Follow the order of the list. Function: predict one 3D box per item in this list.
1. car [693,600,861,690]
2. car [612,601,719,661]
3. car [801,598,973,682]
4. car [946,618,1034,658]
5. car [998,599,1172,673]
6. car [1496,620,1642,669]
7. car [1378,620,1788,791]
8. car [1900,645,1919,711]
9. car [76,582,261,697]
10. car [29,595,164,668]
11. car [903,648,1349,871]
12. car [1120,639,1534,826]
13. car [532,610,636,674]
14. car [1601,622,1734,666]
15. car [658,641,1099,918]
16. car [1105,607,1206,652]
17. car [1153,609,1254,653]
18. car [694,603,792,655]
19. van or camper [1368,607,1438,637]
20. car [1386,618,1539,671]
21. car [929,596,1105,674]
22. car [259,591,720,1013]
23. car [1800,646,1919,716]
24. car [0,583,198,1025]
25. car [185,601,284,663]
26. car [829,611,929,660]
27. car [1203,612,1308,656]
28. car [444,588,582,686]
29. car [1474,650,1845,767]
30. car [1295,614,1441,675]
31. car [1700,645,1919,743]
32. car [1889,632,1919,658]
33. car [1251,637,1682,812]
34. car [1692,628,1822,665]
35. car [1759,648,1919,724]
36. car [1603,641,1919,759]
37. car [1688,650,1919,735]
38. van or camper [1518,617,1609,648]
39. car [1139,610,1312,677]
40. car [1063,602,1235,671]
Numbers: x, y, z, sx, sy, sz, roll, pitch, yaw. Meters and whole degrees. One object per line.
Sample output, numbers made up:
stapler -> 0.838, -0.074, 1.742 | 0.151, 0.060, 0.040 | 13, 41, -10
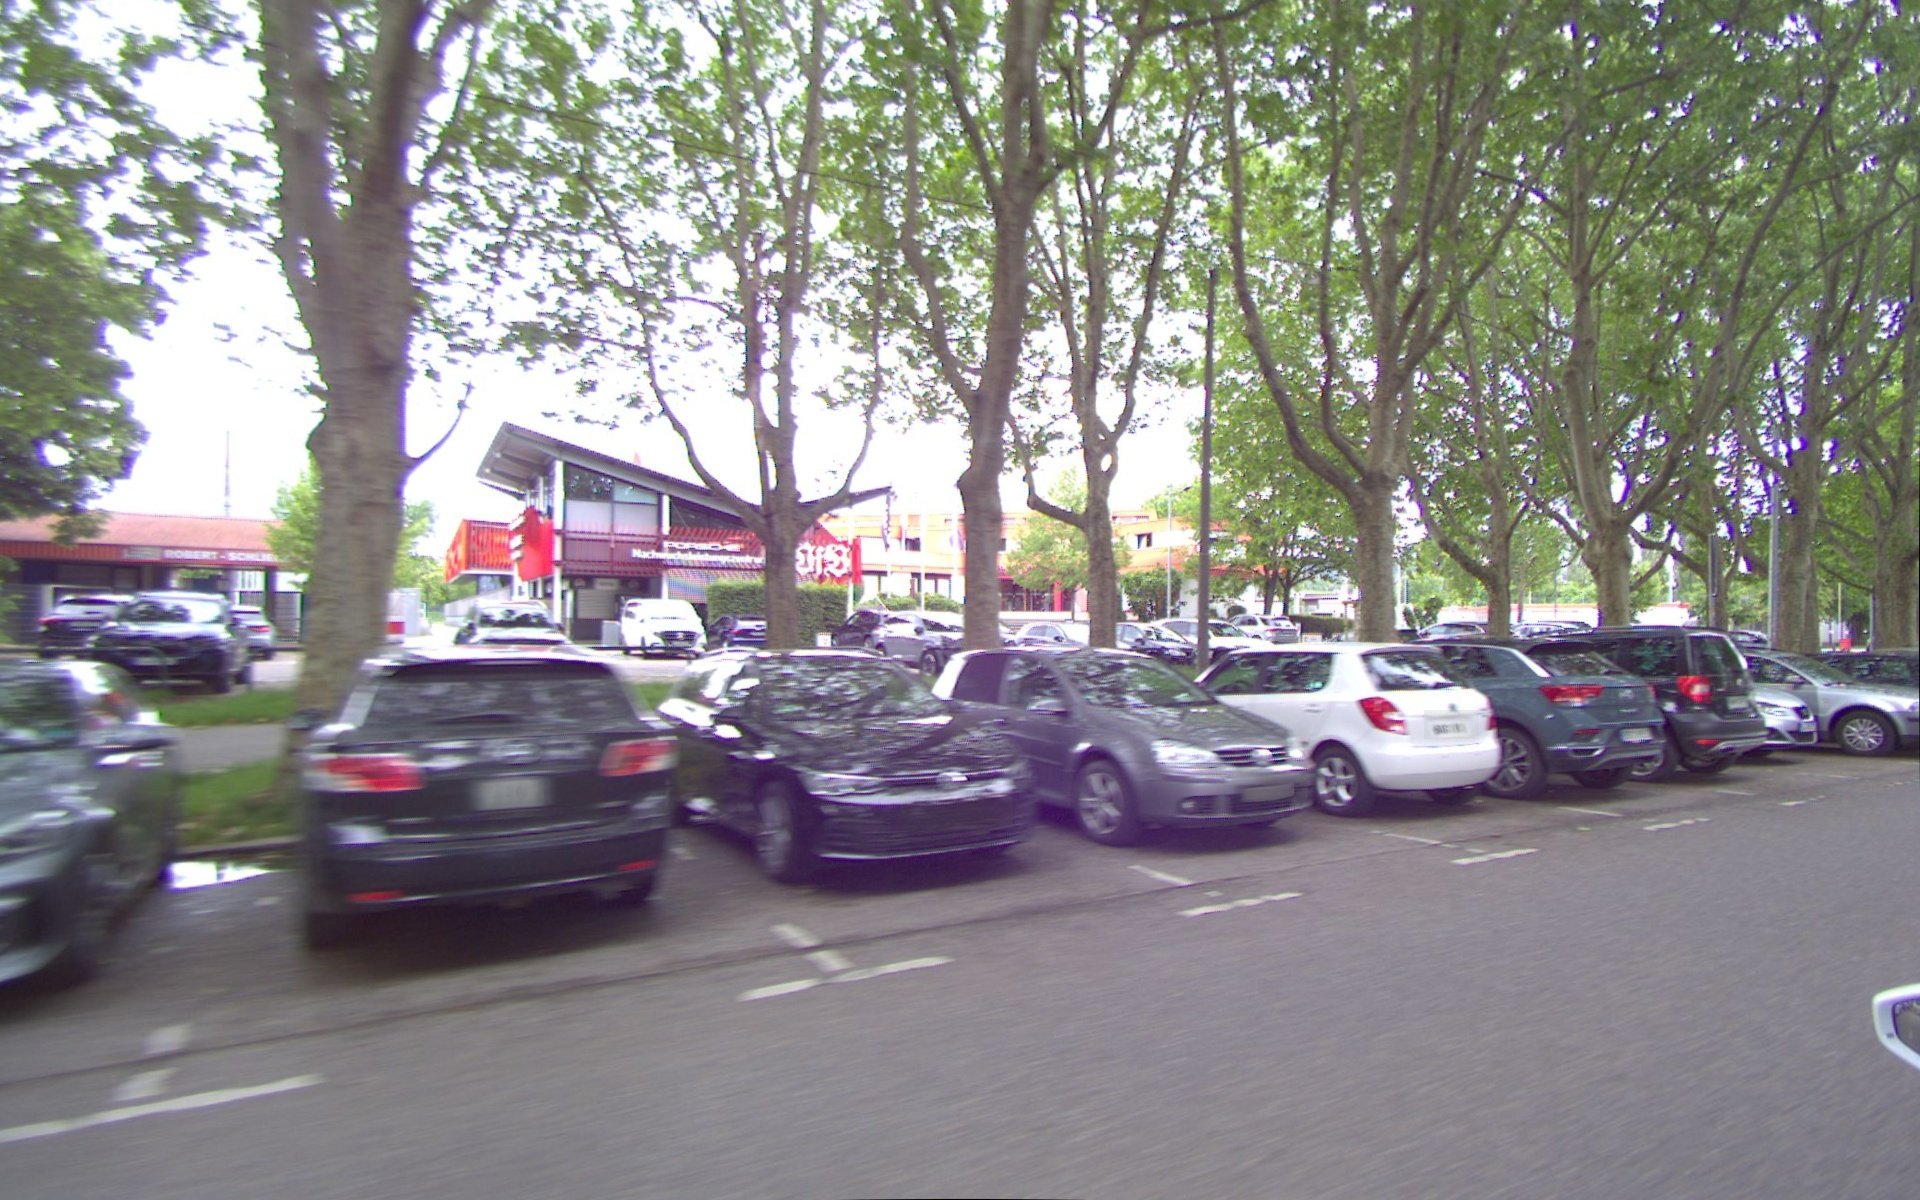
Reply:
car -> -4.323, 0.955, 23.051 | 2.159, 1.820, 4.915 | 2, -1, -31
car -> -9.771, 0.967, 33.031 | 2.159, 1.820, 4.915 | 2, -1, -31
car -> -1.898, 0.908, 24.322 | 2.159, 1.820, 4.915 | 1, -1, -31
car -> 1.111, 1.456, 38.860 | 1.489, 1.390, 3.966 | 2, -1, -31
car -> 3.308, 0.919, 27.593 | 2.159, 1.820, 4.915 | 2, -1, -31
car -> 24.340, 1.742, 40.322 | 2.270, 1.785, 4.497 | 2, -1, -30
car -> 7.388, 1.161, 12.323 | 1.732, 1.730, 3.912 | 1, -3, -30
car -> 22.535, 1.629, 20.899 | 1.732, 1.439, 3.967 | 1, -3, -26
car -> -13.732, 0.721, 17.716 | 1.977, 1.743, 4.530 | 1, -3, -31
car -> -21.217, 0.732, 24.852 | 1.979, 1.648, 3.963 | 2, -1, -33
car -> 1.159, 1.142, 8.736 | 1.683, 1.439, 3.974 | 1, -3, -30
car -> 3.466, 1.167, 10.316 | 1.680, 1.505, 3.983 | 1, -3, -24
car -> -11.995, 1.268, 31.856 | 2.159, 1.820, 4.915 | 2, -1, -31
car -> 30.835, 1.882, 43.901 | 2.107, 1.732, 4.300 | 2, -1, -30
car -> -0.895, 1.084, 7.716 | 1.823, 1.387, 3.967 | 2, -1, -31
car -> 8.783, 1.319, 45.600 | 2.265, 1.880, 4.566 | 2, -1, -24
car -> 11.238, 1.399, 46.676 | 2.265, 1.880, 4.566 | 2, -1, -24
car -> -7.475, 0.970, 34.302 | 1.979, 1.646, 3.964 | 2, -1, -33
van or camper -> 31.939, 1.573, 72.405 | 5.242, 2.040, 1.984 | 2, -1, -31
car -> 18.370, 1.584, 36.926 | 2.270, 1.748, 4.530 | 2, -1, -30
car -> 1.347, 0.846, 26.172 | 2.159, 1.820, 4.915 | 2, -1, -31
car -> -2.936, 0.845, 6.258 | 1.833, 1.704, 3.971 | 2, -1, -28
car -> 20.175, 1.633, 20.374 | 1.857, 1.387, 4.444 | 1, -3, -29
car -> -5.200, 0.763, 4.785 | 1.833, 1.704, 3.971 | 2, -1, -28
car -> -19.804, 0.842, 27.576 | 1.979, 1.571, 3.995 | 2, -1, -33
car -> -3.012, 1.258, 36.784 | 1.979, 1.646, 3.964 | 2, -1, -33
car -> 13.712, 1.544, 46.903 | 2.265, 1.880, 4.566 | 2, -1, -24
car -> -9.154, 0.785, 20.356 | 1.977, 1.743, 4.530 | 1, -3, -31
car -> 9.669, 1.405, 14.213 | 1.806, 1.382, 3.912 | 1, -3, -31
car -> 13.856, 1.471, 34.348 | 2.004, 1.885, 4.300 | 2, -1, -30
car -> 14.330, 1.428, 15.865 | 1.683, 1.416, 3.912 | 1, -3, -30
car -> 59.498, 2.770, 61.120 | 1.977, 1.543, 3.970 | 2, -1, -29
car -> 5.279, 1.190, 11.000 | 1.708, 1.536, 3.912 | 1, -3, -30
car -> 37.283, 2.147, 47.095 | 2.178, 1.569, 4.300 | 2, -1, -30
car -> 18.353, 1.618, 19.190 | 1.877, 1.365, 4.447 | 1, -3, -27
car -> 12.202, 1.359, 14.687 | 1.683, 1.501, 4.442 | 1, -3, -30
car -> 16.084, 1.610, 18.083 | 1.838, 1.384, 4.442 | 1, -3, -30
van or camper -> 36.770, 1.959, 61.275 | 2.107, 1.732, 4.300 | 2, -1, -30
car -> 7.859, 1.236, 30.222 | 2.159, 1.820, 4.915 | 1, -1, -31
car -> 5.342, 0.995, 29.091 | 2.159, 1.820, 4.915 | 2, -1, -31
